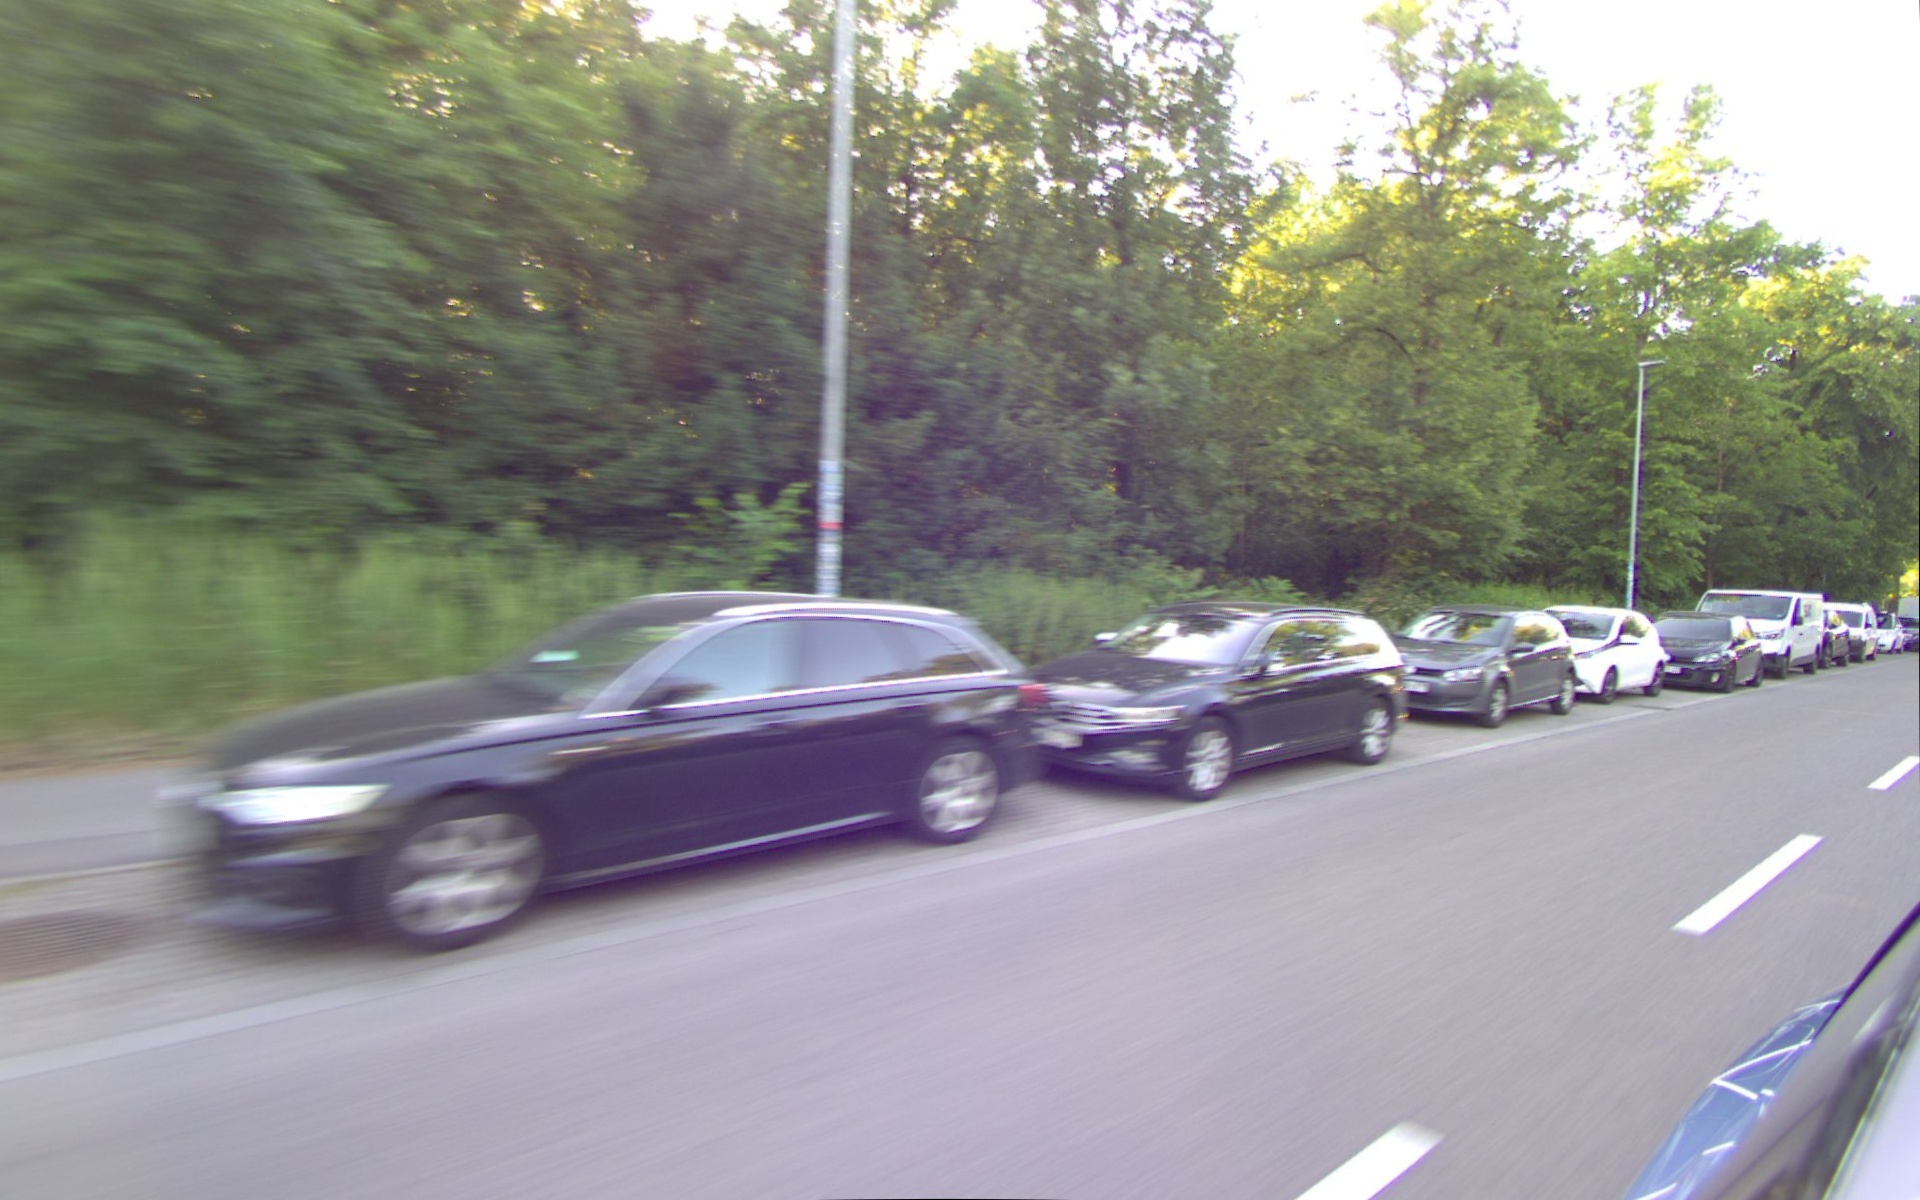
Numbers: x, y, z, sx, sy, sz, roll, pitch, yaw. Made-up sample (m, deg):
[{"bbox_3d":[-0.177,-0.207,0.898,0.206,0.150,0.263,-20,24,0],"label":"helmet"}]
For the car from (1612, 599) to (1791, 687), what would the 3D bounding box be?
[{"bbox_3d":[14.570,0.750,19.799,4.292,1.423,1.873,0,3,-41],"label":"car"}]

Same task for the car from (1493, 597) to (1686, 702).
[{"bbox_3d":[10.541,0.734,16.851,3.730,1.471,1.590,0,3,-40],"label":"car"}]

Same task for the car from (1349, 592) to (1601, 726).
[{"bbox_3d":[6.965,0.675,13.540,3.873,1.471,1.589,0,3,-40],"label":"car"}]

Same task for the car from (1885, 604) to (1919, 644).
[{"bbox_3d":[40.778,0.994,42.935,4.904,1.554,1.762,0,3,-43],"label":"car"}]

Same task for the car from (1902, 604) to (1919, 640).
[{"bbox_3d":[45.073,1.020,46.929,4.279,1.554,1.680,0,3,-43],"label":"car"}]

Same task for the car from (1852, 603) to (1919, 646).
[{"bbox_3d":[35.947,0.924,39.186,3.123,1.513,1.590,0,3,-40],"label":"car"}]

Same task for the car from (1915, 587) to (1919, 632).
[{"bbox_3d":[54.266,0.554,55.781,5.482,2.453,1.907,0,3,-43],"label":"car"}]

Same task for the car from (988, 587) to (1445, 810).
[{"bbox_3d":[2.563,0.672,9.231,4.814,1.471,1.640,0,3,-43],"label":"car"}]

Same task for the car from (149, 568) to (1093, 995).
[{"bbox_3d":[-1.525,0.624,5.936,4.952,1.471,1.777,0,3,-43],"label":"car"}]

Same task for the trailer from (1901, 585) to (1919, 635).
[{"bbox_3d":[49.327,0.523,51.301,5.040,2.453,1.907,0,3,-43],"label":"trailer"}]

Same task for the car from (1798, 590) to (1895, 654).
[{"bbox_3d":[28.417,0.644,32.390,4.657,1.826,1.762,0,3,-43],"label":"car"}]

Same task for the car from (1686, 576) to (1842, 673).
[{"bbox_3d":[19.255,0.500,24.127,5.378,2.005,1.873,0,3,-41],"label":"car"}]

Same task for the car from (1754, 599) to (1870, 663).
[{"bbox_3d":[23.834,0.805,28.265,4.351,1.566,1.763,0,3,-41],"label":"car"}]
